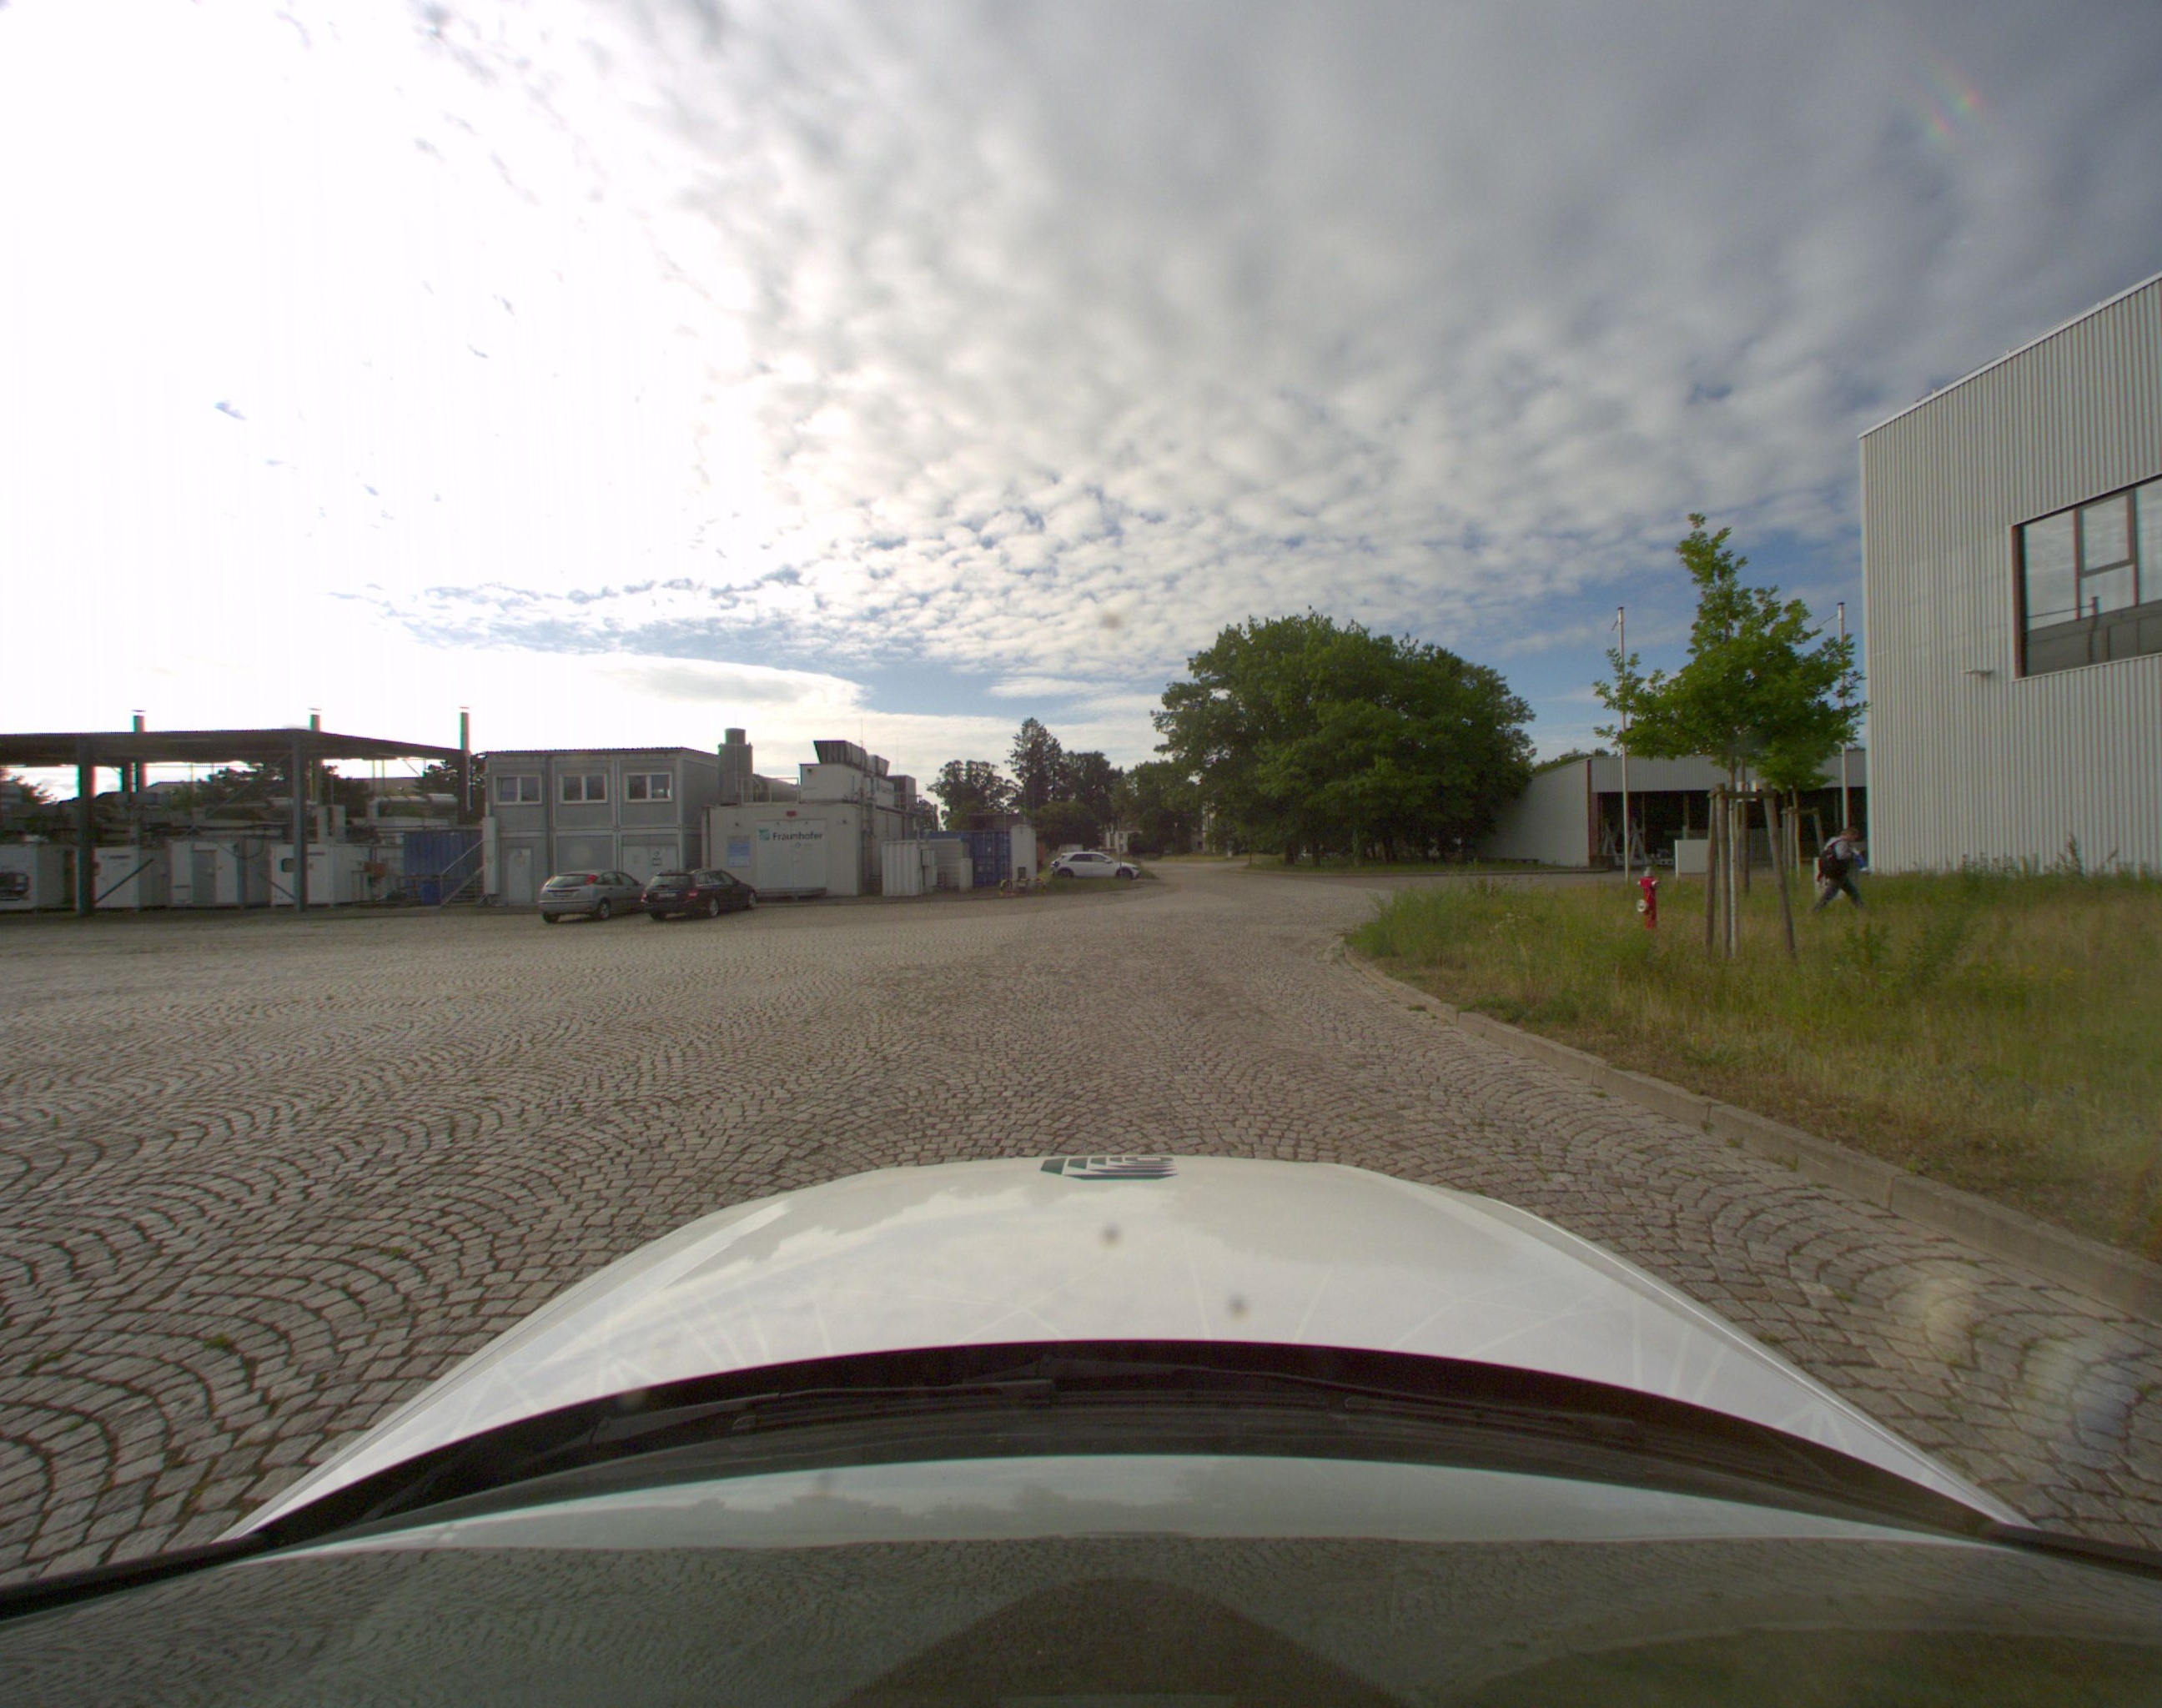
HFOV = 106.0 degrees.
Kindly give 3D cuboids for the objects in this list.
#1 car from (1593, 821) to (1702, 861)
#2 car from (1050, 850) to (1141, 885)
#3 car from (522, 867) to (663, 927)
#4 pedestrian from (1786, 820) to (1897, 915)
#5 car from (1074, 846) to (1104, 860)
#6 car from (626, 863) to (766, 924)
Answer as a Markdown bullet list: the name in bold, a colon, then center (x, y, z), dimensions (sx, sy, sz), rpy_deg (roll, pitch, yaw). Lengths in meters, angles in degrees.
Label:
- **car**: center (31.137, -0.650, 44.999), dimensions (2.235, 2.013, 5.334), rpy_deg (-2, 0, -1)
- **car**: center (0.774, 0.681, 41.972), dimensions (4.516, 1.599, 2.001), rpy_deg (-2, 0, 2)
- **car**: center (-14.817, 1.234, 24.981), dimensions (1.901, 1.475, 4.044), rpy_deg (-2, 1, -2)
- **pedestrian**: center (13.069, 0.226, 14.050), dimensions (1.066, 1.556, 1.081), rpy_deg (-2, 0, 24)
- **car**: center (1.360, -0.212, 143.560), dimensions (5.154, 2.337, 2.000), rpy_deg (-2, 0, -1)
- **car**: center (-11.544, 1.131, 24.829), dimensions (2.030, 1.453, 4.530), rpy_deg (-2, 2, 0)
